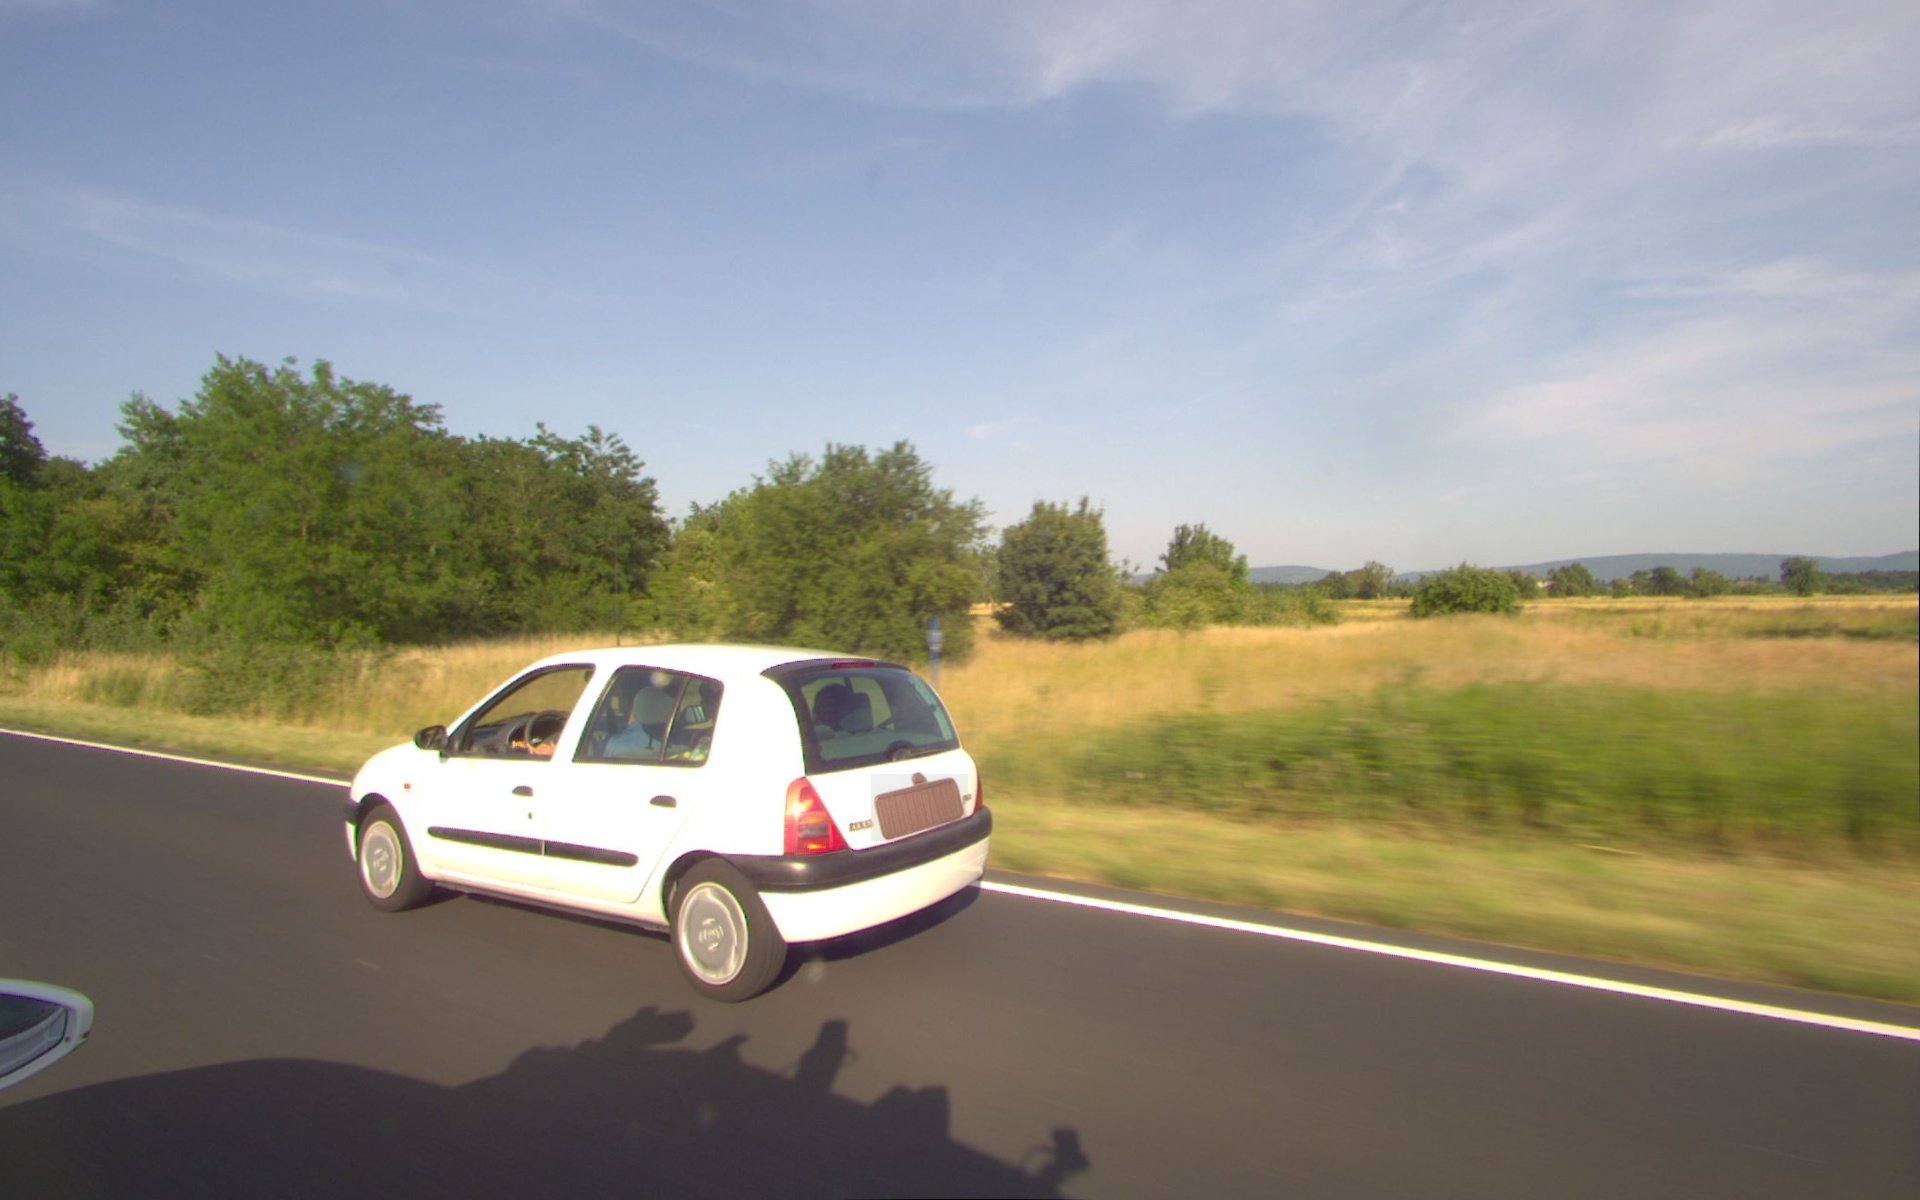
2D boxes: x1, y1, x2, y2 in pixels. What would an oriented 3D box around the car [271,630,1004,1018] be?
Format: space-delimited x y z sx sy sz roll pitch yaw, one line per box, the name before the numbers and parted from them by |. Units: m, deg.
car | -1.850 0.880 5.364 3.894 1.405 1.615 -1 -2 32
